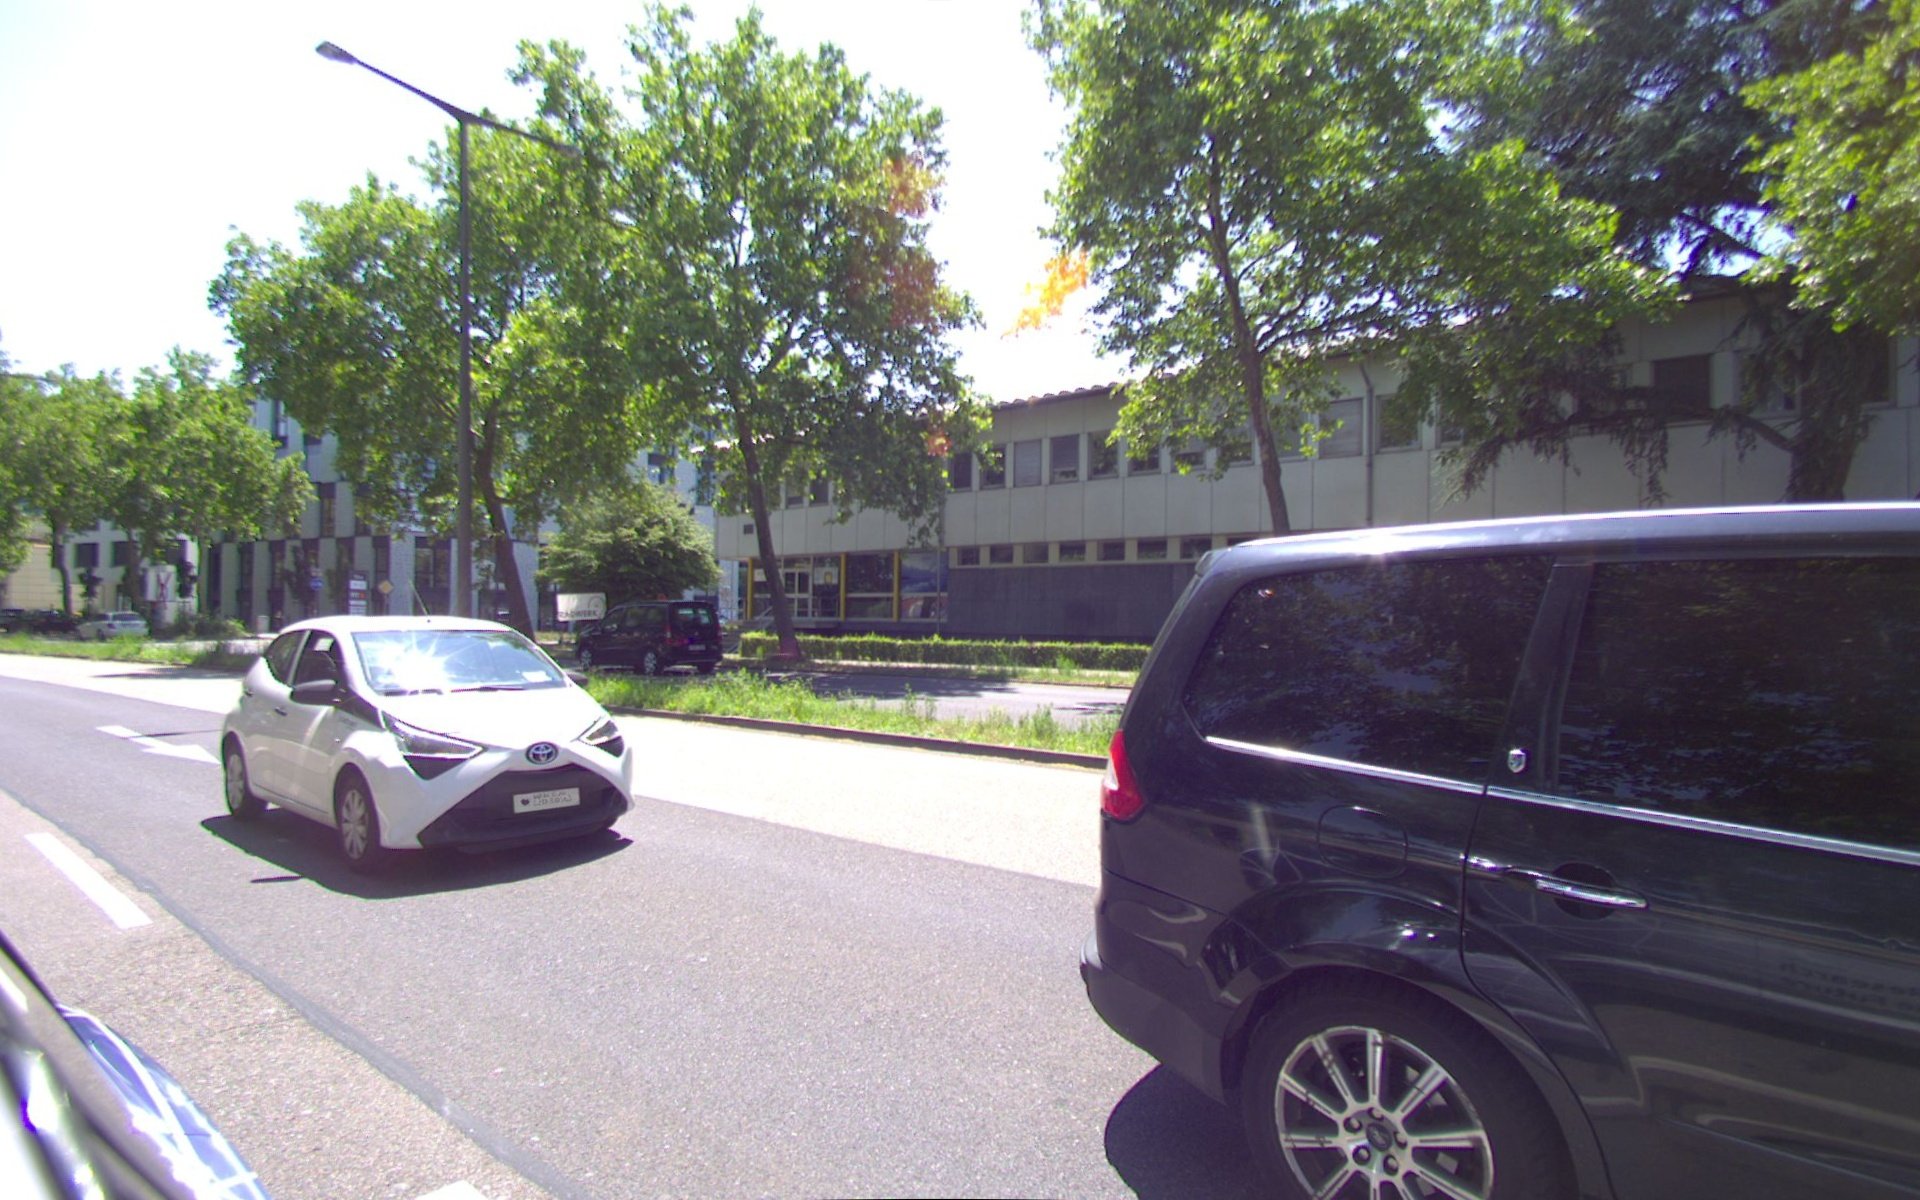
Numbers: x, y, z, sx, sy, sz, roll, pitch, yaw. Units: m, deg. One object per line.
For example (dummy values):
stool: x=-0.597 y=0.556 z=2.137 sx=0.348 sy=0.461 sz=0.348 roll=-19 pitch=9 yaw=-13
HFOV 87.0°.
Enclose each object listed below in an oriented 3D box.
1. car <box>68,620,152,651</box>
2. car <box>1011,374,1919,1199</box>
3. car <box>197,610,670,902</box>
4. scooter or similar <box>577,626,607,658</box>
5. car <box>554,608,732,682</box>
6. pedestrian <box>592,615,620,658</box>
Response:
car: x=-41.122 y=1.677 z=48.921 sx=4.533 sy=1.429 sz=1.839 roll=-1 pitch=-2 yaw=33
car: x=2.492 y=0.532 z=1.951 sx=4.645 sy=1.769 sz=1.835 roll=-1 pitch=-1 yaw=40
car: x=-3.745 y=0.822 z=6.948 sx=3.649 sy=1.456 sz=1.602 roll=-1 pitch=0 yaw=40
scooter or similar: x=-13.963 y=1.579 z=38.373 sx=0.857 sy=1.172 sz=0.673 roll=-1 pitch=-2 yaw=33
car: x=-7.917 y=1.061 z=25.150 sx=4.431 sy=1.692 sz=1.896 roll=-1 pitch=-1 yaw=34
pedestrian: x=-13.265 y=1.369 z=37.920 sx=0.789 sy=1.572 sz=0.636 roll=-1 pitch=-2 yaw=33
